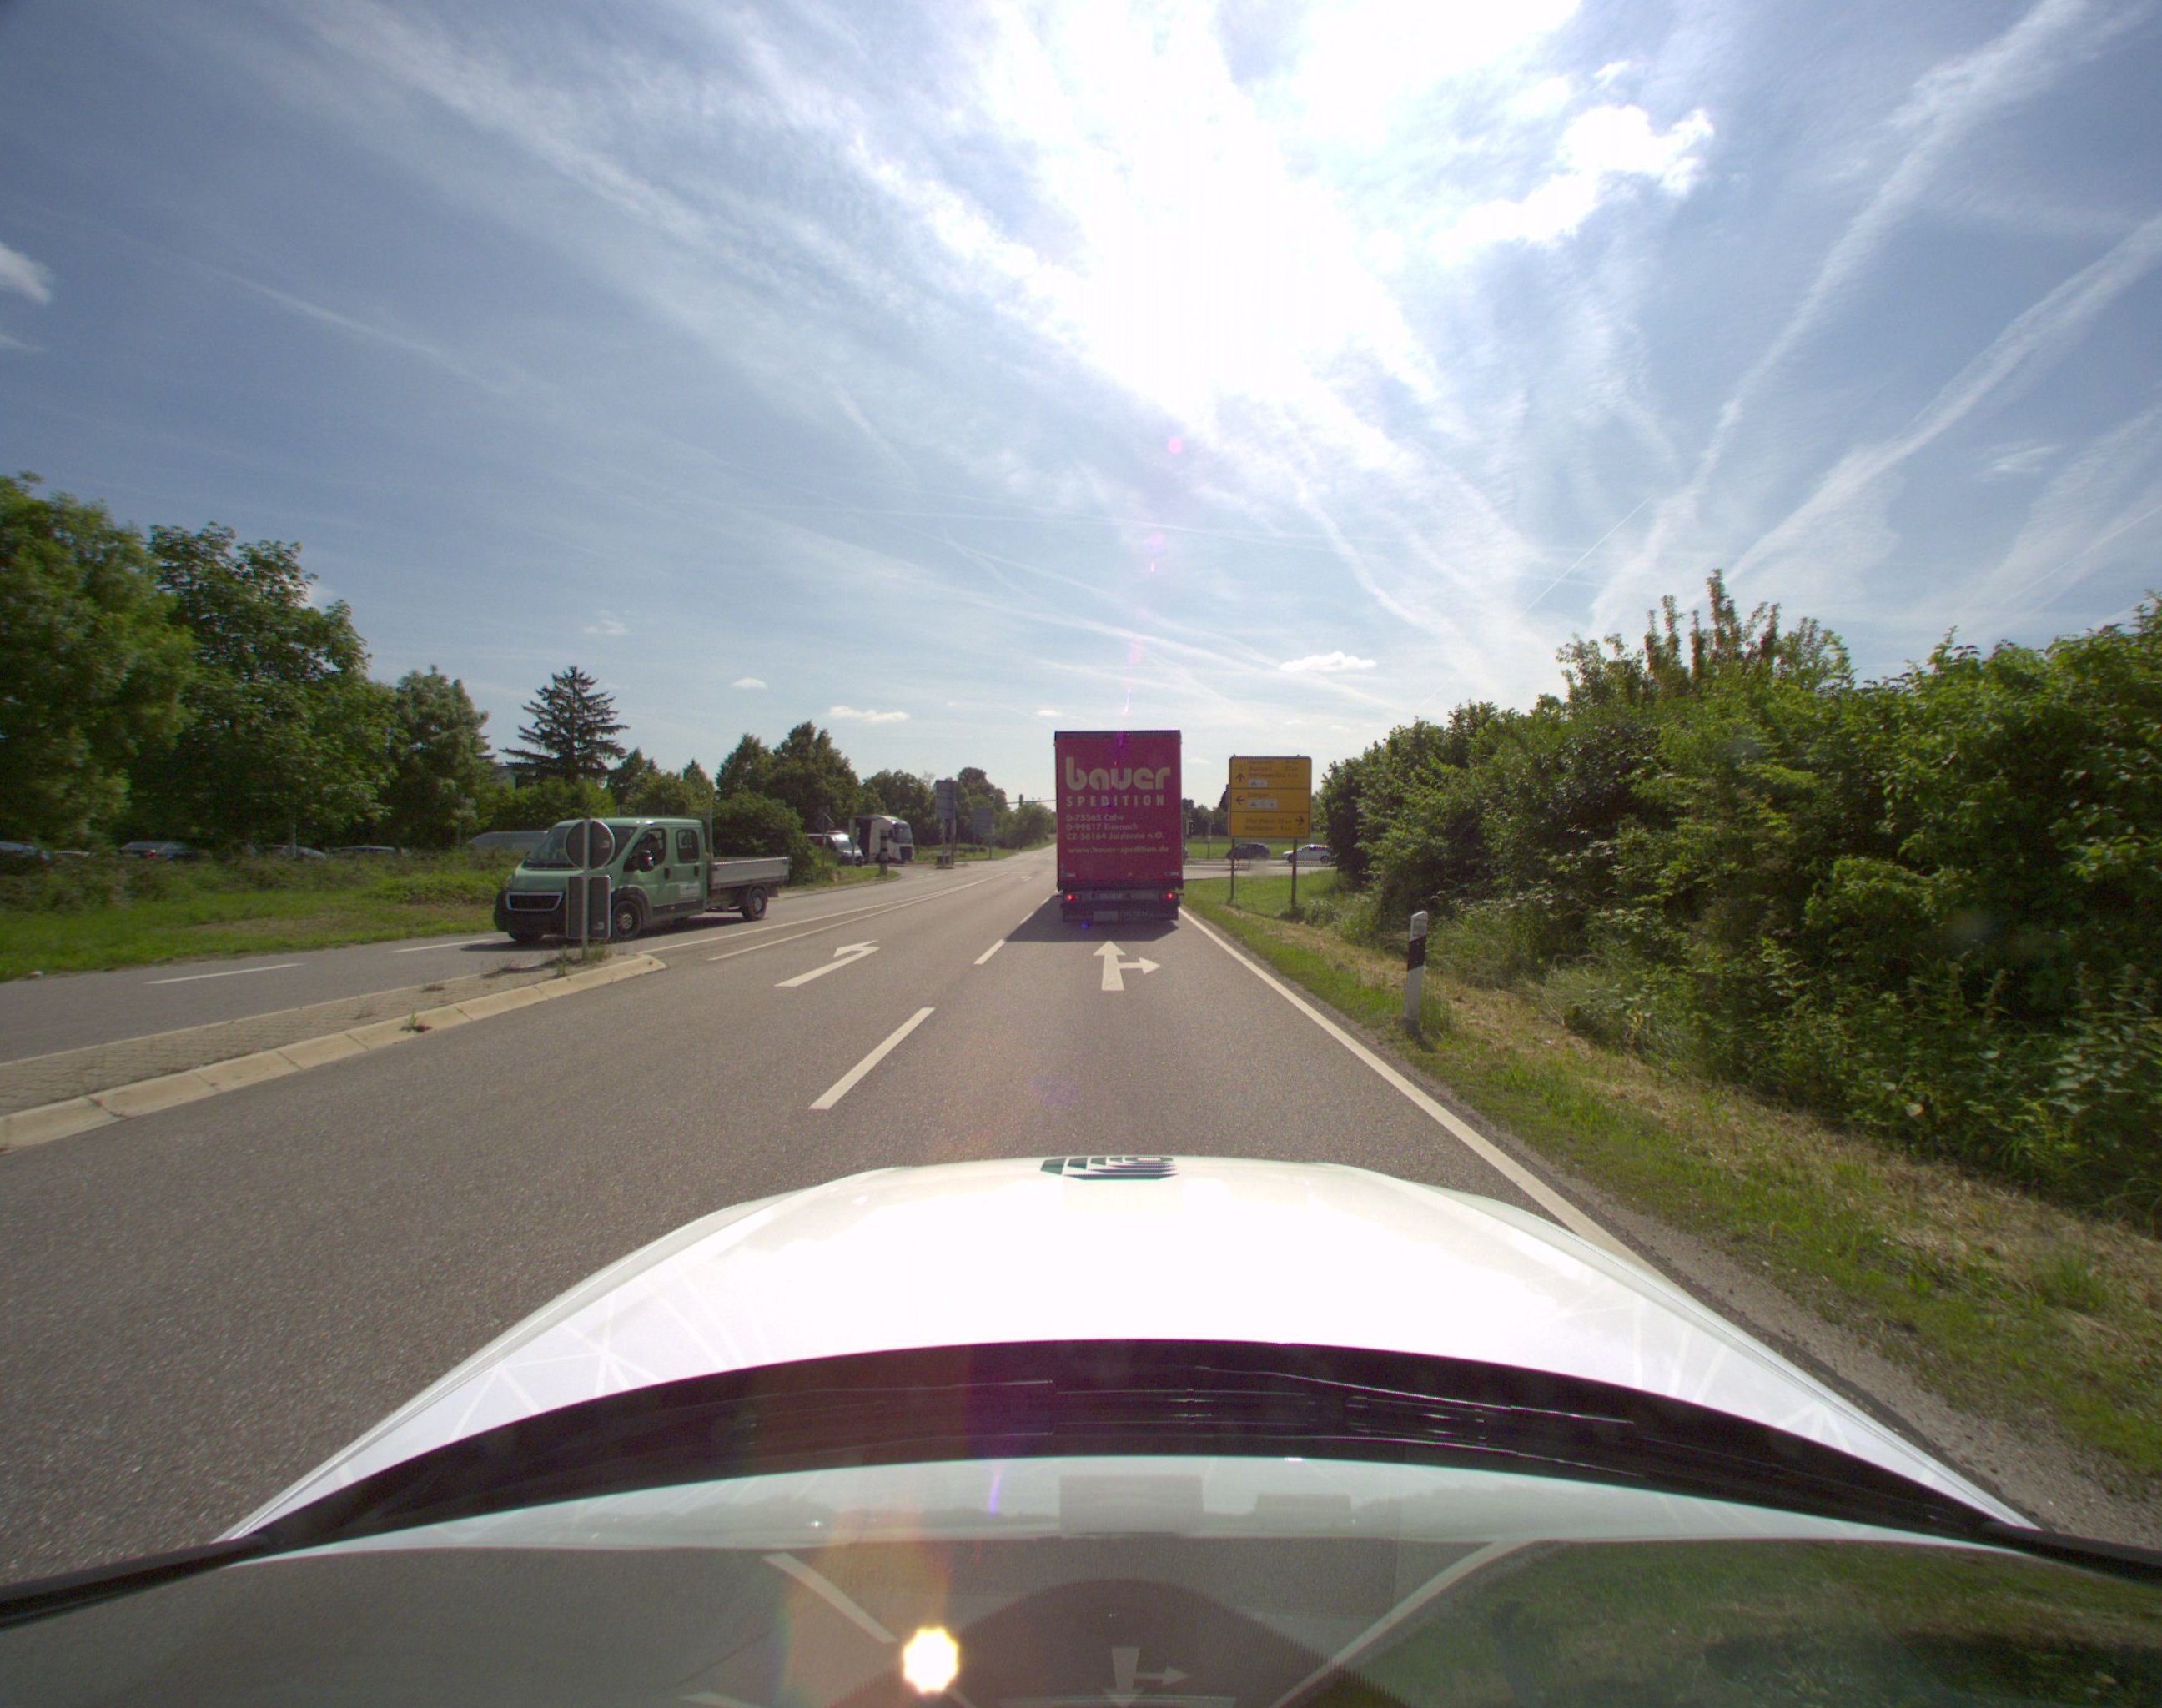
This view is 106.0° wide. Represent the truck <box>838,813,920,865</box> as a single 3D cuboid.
[{"bbox_3d":[-16.378,-1.211,66.216,5.782,4.061,2.810,0,1,16],"label":"truck"}]

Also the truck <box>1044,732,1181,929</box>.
[{"bbox_3d":[0.786,-0.574,24.609,2.725,3.925,16.629,0,1,1],"label":"truck"}]

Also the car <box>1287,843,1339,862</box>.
[{"bbox_3d":[19.182,-0.085,67.244,4.067,1.547,1.881,0,-1,16],"label":"car"}]

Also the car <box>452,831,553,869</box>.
[{"bbox_3d":[-34.881,-0.214,49.254,4.600,2.180,1.986,1,0,-22],"label":"car"}]

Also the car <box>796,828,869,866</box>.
[{"bbox_3d":[-18.442,-0.508,60.299,5.909,2.654,2.138,0,0,38],"label":"car"}]

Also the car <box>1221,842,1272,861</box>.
[{"bbox_3d":[14.996,-0.180,73.908,4.232,1.656,1.711,0,-1,35],"label":"car"}]

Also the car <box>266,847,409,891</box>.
[{"bbox_3d":[-30.720,0.617,33.842,4.011,1.728,1.981,0,-1,-29],"label":"car"}]

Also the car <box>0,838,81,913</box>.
[{"bbox_3d":[-25.705,0.480,18.150,3.997,1.657,1.684,0,-1,-17],"label":"car"}]

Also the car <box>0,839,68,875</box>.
[{"bbox_3d":[-50.114,0.156,37.878,1.913,1.640,3.973,0,-1,-20],"label":"car"}]

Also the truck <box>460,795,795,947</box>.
[{"bbox_3d":[-8.356,0.268,16.098,2.228,2.375,6.367,-1,0,10],"label":"truck"}]

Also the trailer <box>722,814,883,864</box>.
[{"bbox_3d":[-23.402,-1.264,68.313,13.578,4.061,2.811,0,1,17],"label":"trailer"}]

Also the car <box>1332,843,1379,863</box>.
[{"bbox_3d":[23.490,-0.090,69.811,3.798,1.633,1.769,-1,-1,16],"label":"car"}]

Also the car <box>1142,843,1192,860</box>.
[{"bbox_3d":[7.427,-0.181,70.267,3.958,1.429,2.008,0,0,14],"label":"car"}]
